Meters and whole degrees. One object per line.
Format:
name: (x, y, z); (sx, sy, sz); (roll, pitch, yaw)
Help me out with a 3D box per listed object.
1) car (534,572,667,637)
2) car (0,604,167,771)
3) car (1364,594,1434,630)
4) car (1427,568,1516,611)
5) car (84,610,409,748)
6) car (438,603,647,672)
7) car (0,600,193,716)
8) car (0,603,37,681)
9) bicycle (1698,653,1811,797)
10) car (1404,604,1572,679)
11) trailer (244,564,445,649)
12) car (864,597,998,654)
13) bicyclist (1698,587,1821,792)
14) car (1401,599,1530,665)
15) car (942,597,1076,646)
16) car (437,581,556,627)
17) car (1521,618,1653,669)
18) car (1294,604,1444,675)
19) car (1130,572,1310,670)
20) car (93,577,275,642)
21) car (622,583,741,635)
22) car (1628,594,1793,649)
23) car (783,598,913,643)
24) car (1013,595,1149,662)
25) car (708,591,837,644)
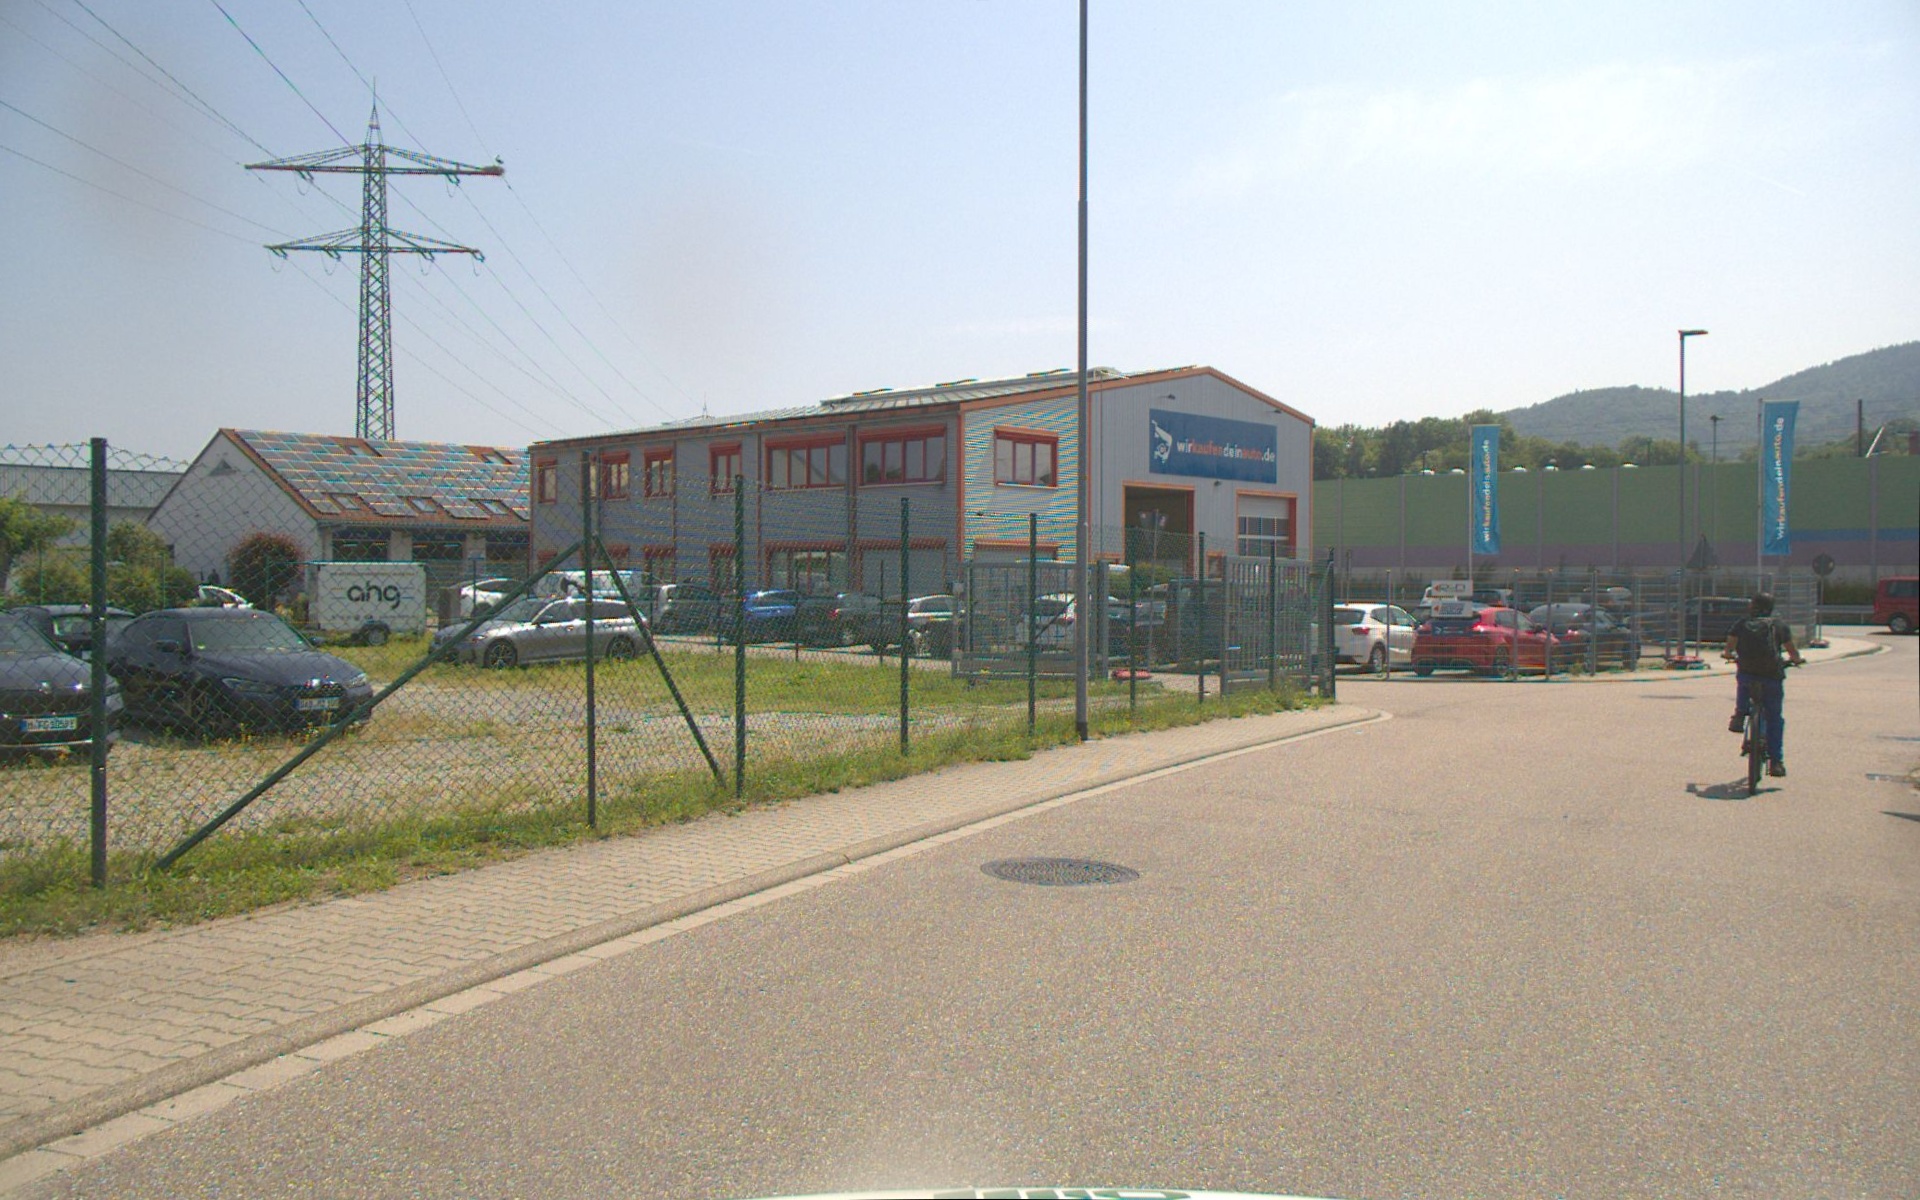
car: (-11.508, 0.112, 53.074); (1.791, 2.013, 3.883); (0, 0, 42)
car: (-10.073, 0.838, 17.477); (3.705, 1.581, 1.857); (0, 0, 43)
car: (21.565, 0.562, 81.174); (1.675, 1.686, 3.974); (0, 1, 43)
car: (20.097, -0.413, 64.933); (1.963, 1.609, 3.978); (0, 1, 40)
car: (-8.749, 0.860, 20.094); (4.584, 1.460, 1.989); (0, 0, 43)
car: (-8.328, 0.714, 33.257); (1.213, 1.283, 4.117); (0, 0, 42)
car: (-12.688, 0.741, 23.534); (1.986, 1.460, 4.352); (0, 0, -43)
car: (-19.901, 0.781, 32.296); (4.584, 1.460, 1.989); (0, 0, 43)
bicycle: (6.793, 1.022, 14.096); (0.672, 1.070, 1.896); (1, 0, 31)
car: (11.005, 0.821, 34.354); (1.842, 1.411, 4.088); (0, 0, 42)
trailer: (-15.114, 0.129, 40.689); (4.405, 1.979, 1.695); (0, 0, -33)
car: (-0.731, 0.632, 43.196); (1.481, 1.405, 3.582); (0, 0, 42)
bicyclist: (6.776, 0.726, 13.997); (0.827, 1.647, 1.037); (1, 0, 31)
car: (12.126, 0.724, 39.550); (1.462, 1.480, 3.871); (0, 0, 42)
car: (1.276, 0.518, 42.194); (1.481, 1.171, 3.582); (0, 0, 42)
car: (-16.266, 0.119, 58.161); (1.481, 1.542, 3.883); (0, 0, 42)
car: (14.239, 0.953, 37.453); (1.462, 1.024, 4.088); (0, 1, 42)
car: (8.967, 0.828, 36.108); (1.720, 1.429, 3.582); (0, 0, 42)
car: (5.921, 0.423, 37.308); (1.922, 2.066, 4.490); (0, 0, 42)
car: (-20.339, 0.223, 43.430); (1.845, 1.626, 3.972); (0, 0, 44)
car: (-8.721, 0.266, 52.047); (1.481, 1.571, 3.582); (0, 0, 42)
car: (21.789, 0.583, 48.097); (1.984, 1.519, 3.936); (0, 1, -43)
car: (-3.051, 0.540, 45.653); (1.481, 1.171, 3.582); (0, 0, 42)
car: (3.022, 0.669, 40.724); (1.481, 1.566, 3.582); (0, 0, 42)
car: (-5.310, 0.471, 47.092); (1.481, 1.441, 3.582); (0, 0, 42)
